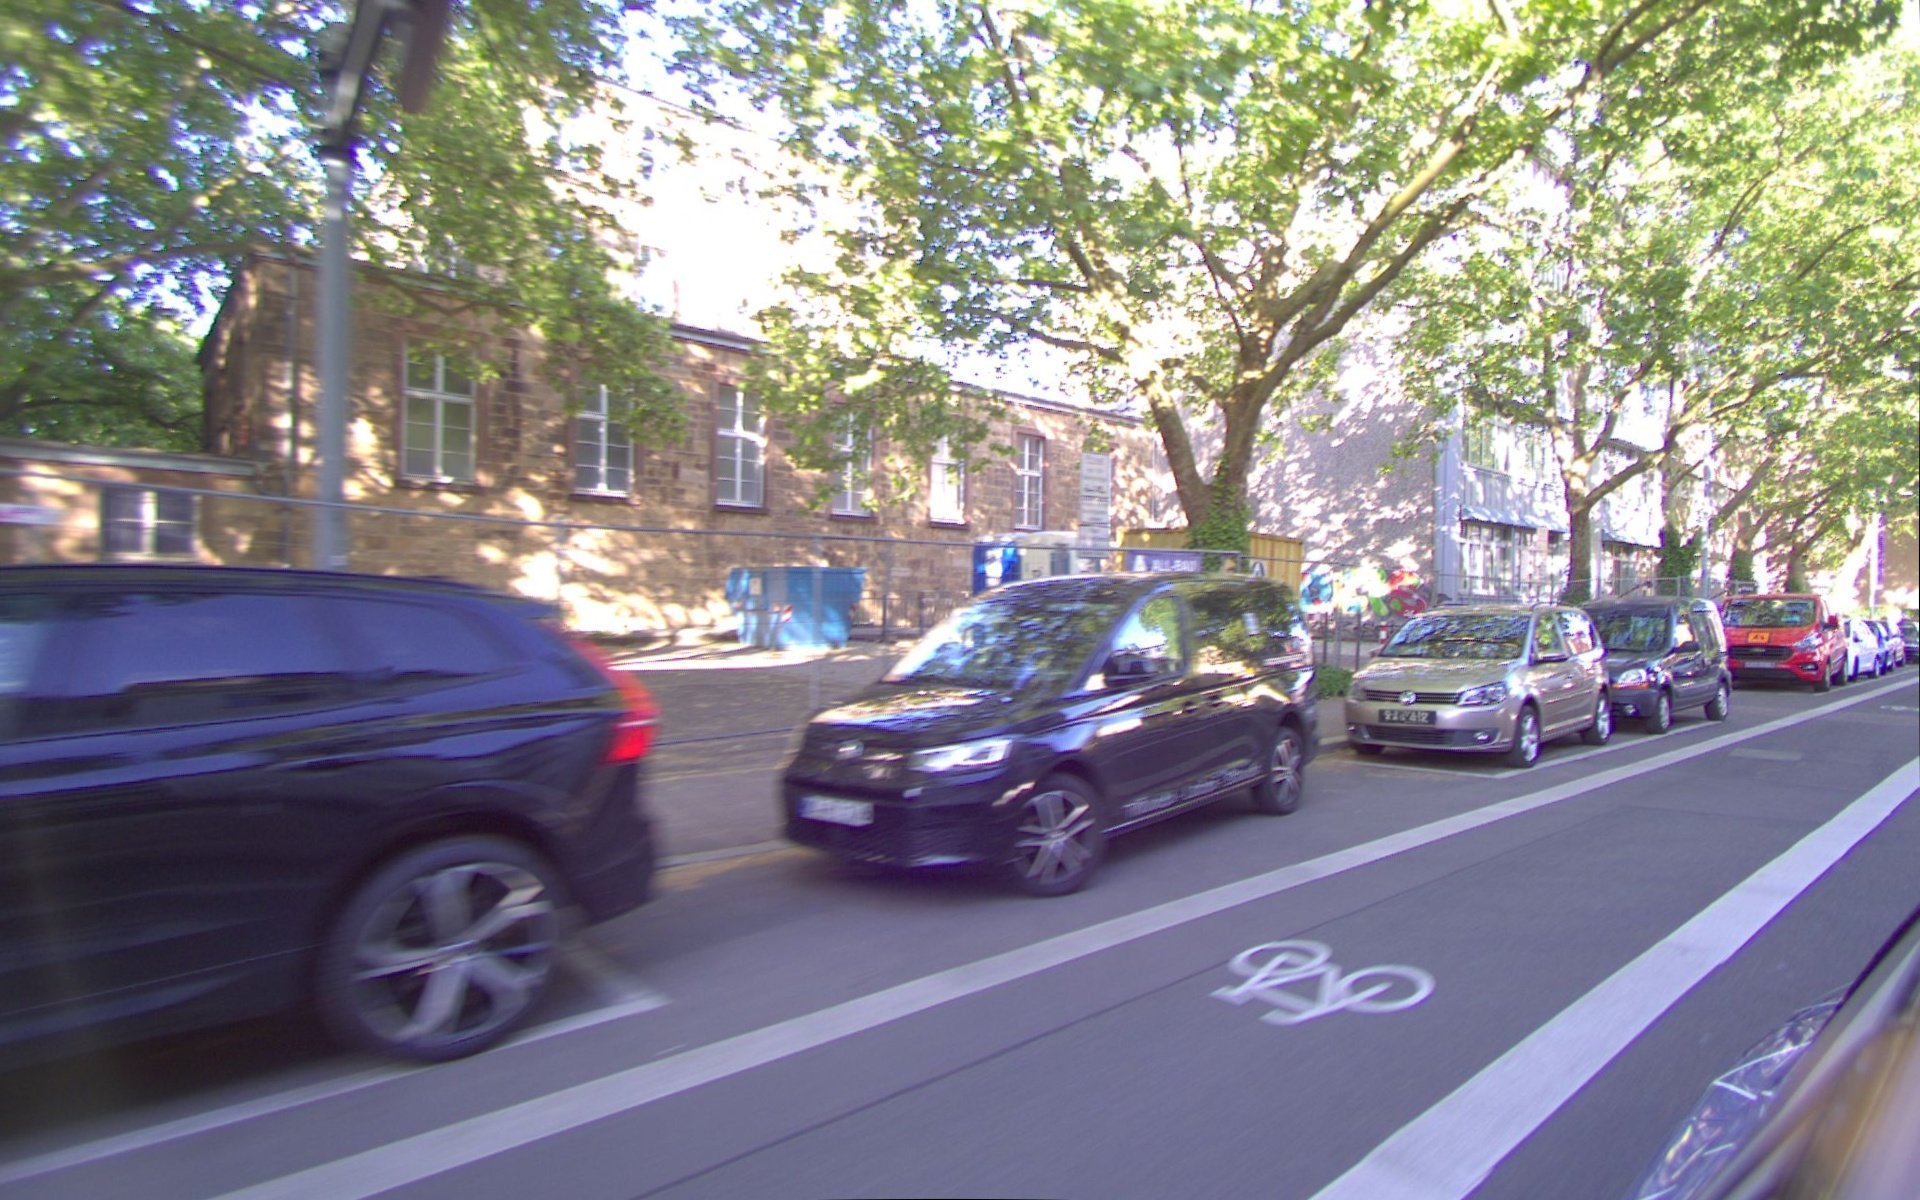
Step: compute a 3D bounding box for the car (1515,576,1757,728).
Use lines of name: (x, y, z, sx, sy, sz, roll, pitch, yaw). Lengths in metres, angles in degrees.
car: (9.537, 0.650, 14.158, 4.056, 1.836, 1.696, 0, -2, -40)

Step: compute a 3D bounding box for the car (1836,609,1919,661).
car: (28.147, 1.052, 30.919, 3.432, 1.494, 1.615, 1, -2, -42)

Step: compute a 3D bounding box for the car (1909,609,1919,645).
car: (40.436, 1.087, 41.473, 4.523, 1.455, 1.858, 0, -1, -42)

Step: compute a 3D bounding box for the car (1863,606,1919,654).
car: (32.168, 0.988, 34.258, 4.519, 1.542, 1.857, 1, -2, -42)

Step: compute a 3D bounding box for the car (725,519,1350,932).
car: (0.906, 0.595, 7.023, 1.822, 1.865, 4.826, -2, -2, 41)

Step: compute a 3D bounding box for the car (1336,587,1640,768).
car: (6.035, 0.735, 11.330, 4.257, 1.649, 1.694, 0, -2, -43)

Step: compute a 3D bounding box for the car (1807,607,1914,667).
car: (24.889, 0.999, 27.945, 3.863, 1.530, 1.856, 1, -2, -44)

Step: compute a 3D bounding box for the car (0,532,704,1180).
car: (-3.258, 0.667, 3.051, 4.541, 1.649, 1.777, 0, -2, -42)

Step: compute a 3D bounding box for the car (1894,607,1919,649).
car: (36.843, 1.045, 38.246, 4.222, 1.542, 1.857, 0, -1, -42)

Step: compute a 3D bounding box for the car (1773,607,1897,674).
car: (21.278, 0.929, 24.571, 3.692, 1.504, 1.641, 1, -2, -39)

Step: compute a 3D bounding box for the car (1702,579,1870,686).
car: (17.745, 0.639, 21.647, 5.084, 2.020, 2.080, 0, -2, -43)
